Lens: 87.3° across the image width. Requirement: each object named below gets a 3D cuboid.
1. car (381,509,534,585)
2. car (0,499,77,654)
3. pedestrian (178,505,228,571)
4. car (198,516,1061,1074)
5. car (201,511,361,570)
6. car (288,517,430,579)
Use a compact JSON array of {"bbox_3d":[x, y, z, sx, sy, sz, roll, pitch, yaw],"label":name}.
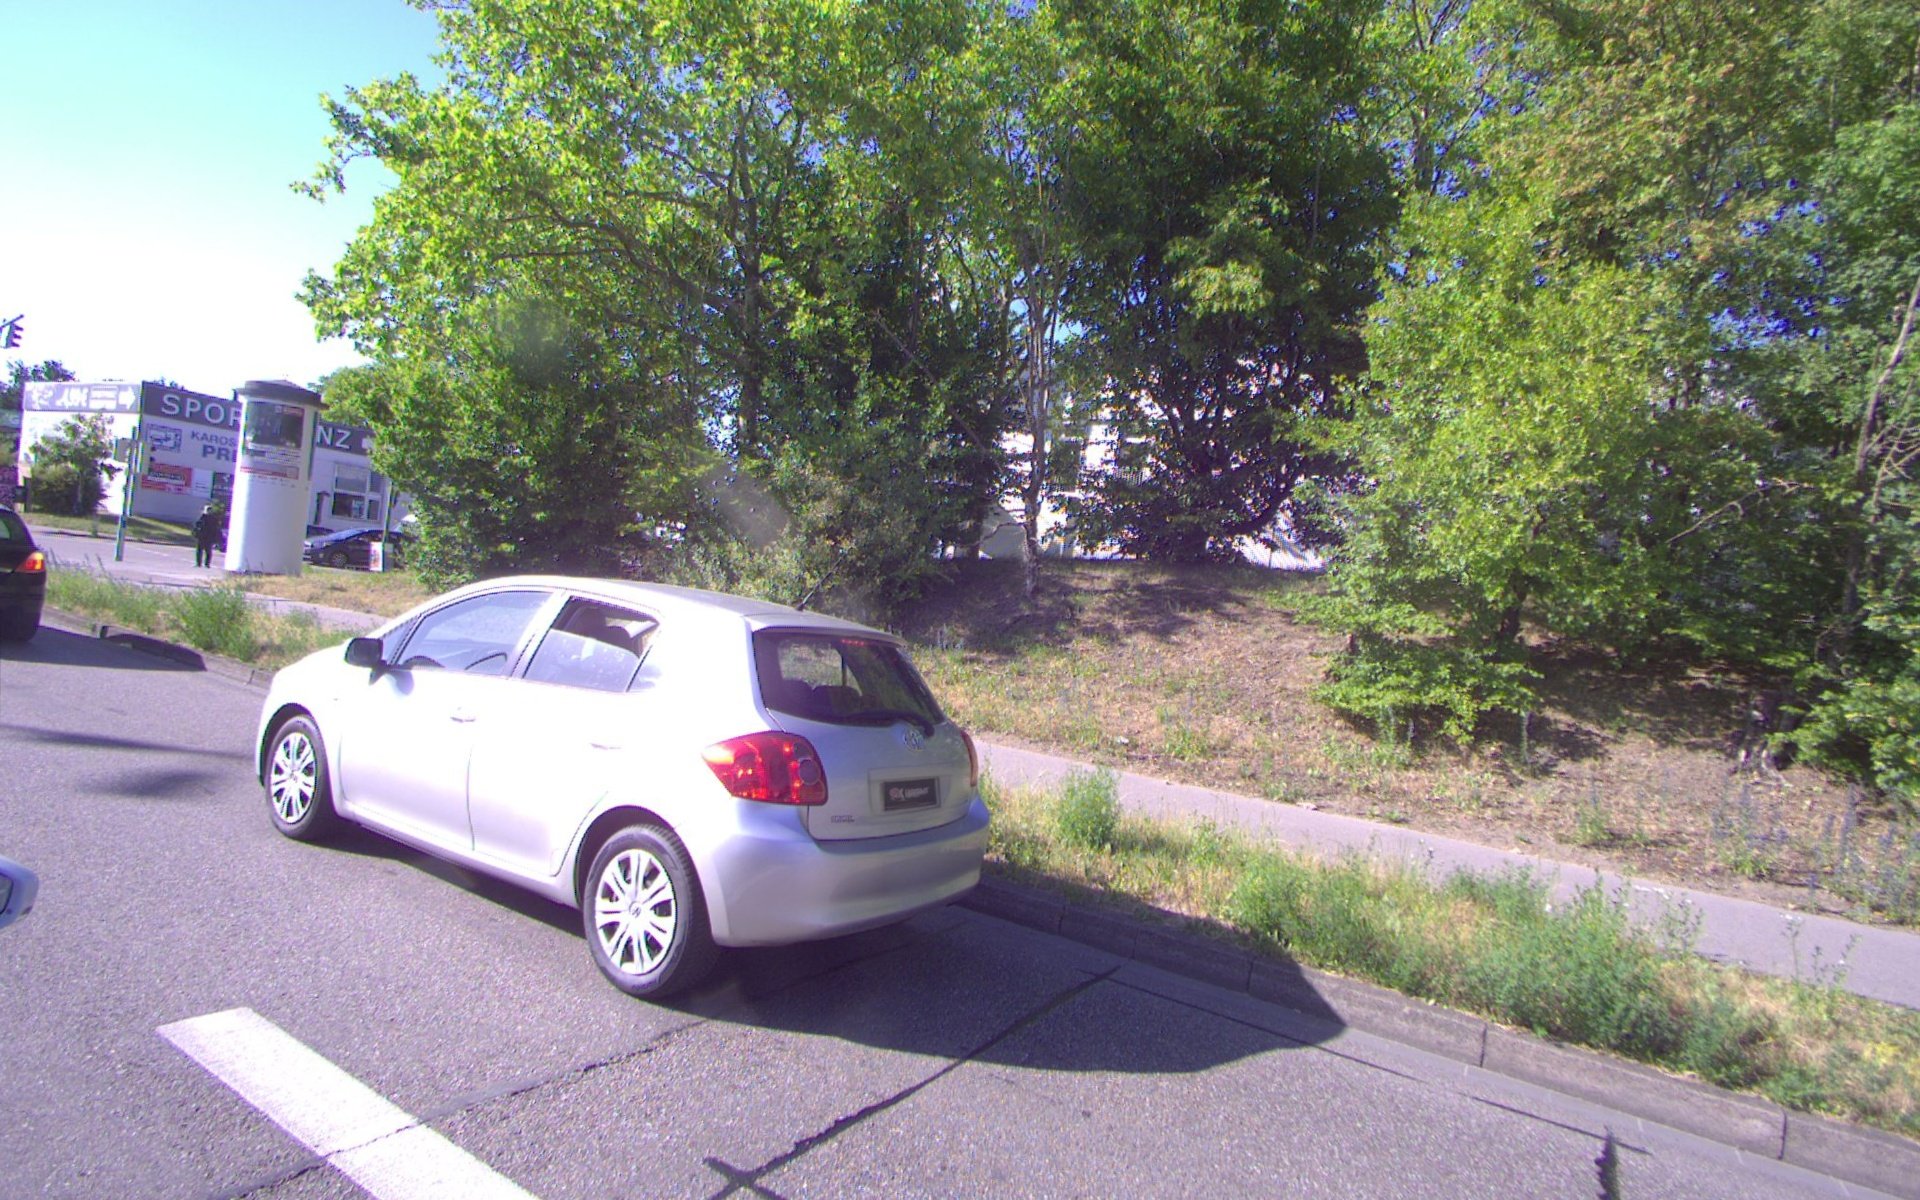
[{"bbox_3d":[-22.624,-2.317,45.600,1.967,2.706,5.840,6,0,32],"label":"car"},{"bbox_3d":[-11.268,-0.481,10.541,4.299,1.458,1.737,7,-2,32],"label":"car"},{"bbox_3d":[-21.072,-1.719,28.003,0.506,1.688,0.818,6,-1,31],"label":"pedestrian"},{"bbox_3d":[-1.784,0.626,5.051,4.039,1.555,1.787,7,-1,32],"label":"car"},{"bbox_3d":[-26.500,-2.296,39.437,1.729,1.484,4.830,6,-2,30],"label":"car"},{"bbox_3d":[-22.914,-1.957,38.529,1.611,1.668,4.316,6,-2,31],"label":"car"}]
